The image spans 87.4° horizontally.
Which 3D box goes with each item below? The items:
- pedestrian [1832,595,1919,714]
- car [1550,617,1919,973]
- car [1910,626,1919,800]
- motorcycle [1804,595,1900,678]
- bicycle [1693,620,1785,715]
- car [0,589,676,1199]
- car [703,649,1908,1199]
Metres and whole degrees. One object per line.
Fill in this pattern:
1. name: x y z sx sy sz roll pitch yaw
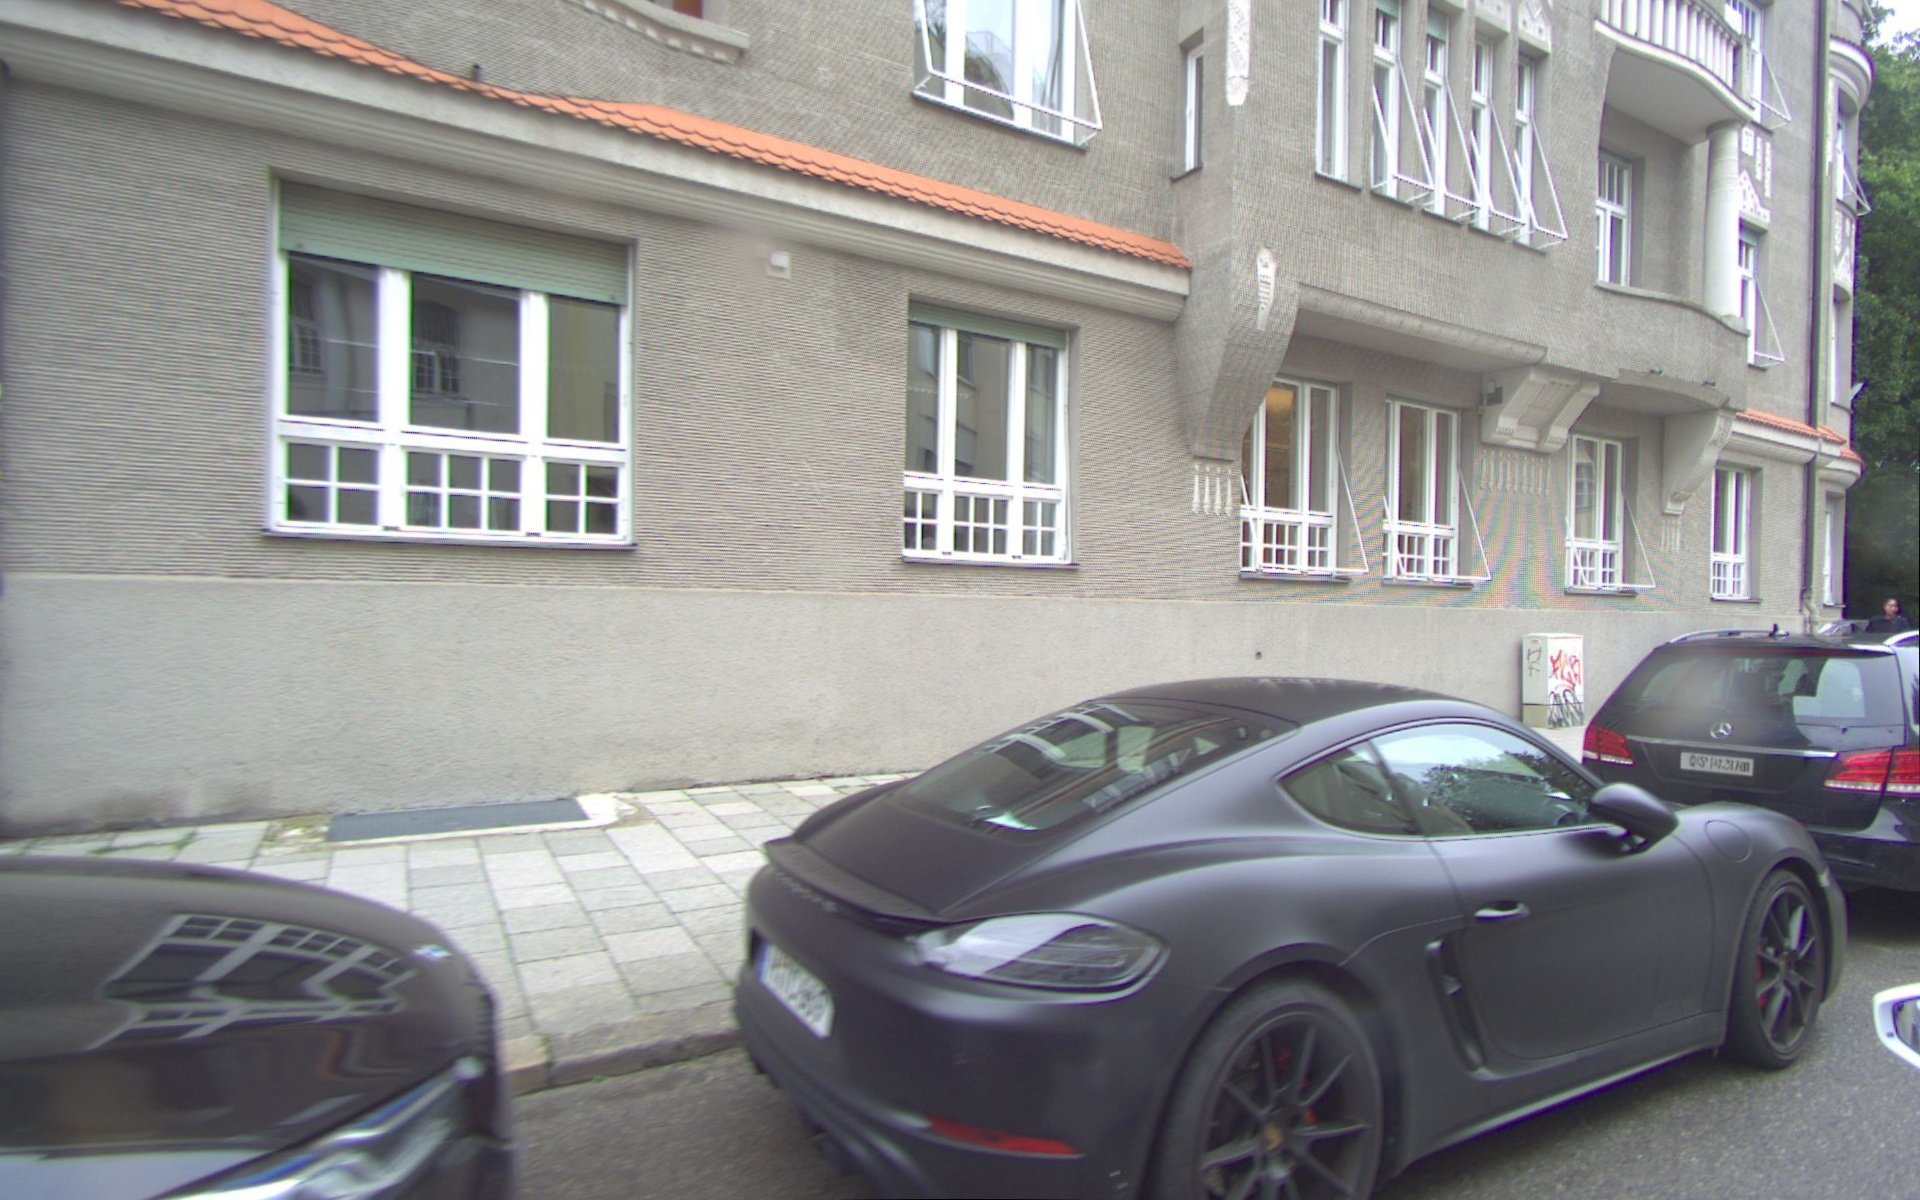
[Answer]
1. pedestrian: 14.524 0.838 15.849 0.924 1.811 0.836 1 0 -27
2. car: 5.900 0.916 6.204 4.649 1.535 1.748 1 0 -29
3. car: 10.100 1.032 8.886 2.876 1.535 1.696 1 0 -29
4. motorcycle: 16.540 0.675 18.604 2.123 1.460 0.732 1 0 -32
5. bicycle: 11.900 1.008 15.332 1.658 1.367 0.614 1 0 -35
6. car: -2.912 0.684 0.969 4.726 1.467 1.983 1 -1 -32
7. car: 1.349 0.889 3.509 4.047 1.349 1.747 1 0 -30
